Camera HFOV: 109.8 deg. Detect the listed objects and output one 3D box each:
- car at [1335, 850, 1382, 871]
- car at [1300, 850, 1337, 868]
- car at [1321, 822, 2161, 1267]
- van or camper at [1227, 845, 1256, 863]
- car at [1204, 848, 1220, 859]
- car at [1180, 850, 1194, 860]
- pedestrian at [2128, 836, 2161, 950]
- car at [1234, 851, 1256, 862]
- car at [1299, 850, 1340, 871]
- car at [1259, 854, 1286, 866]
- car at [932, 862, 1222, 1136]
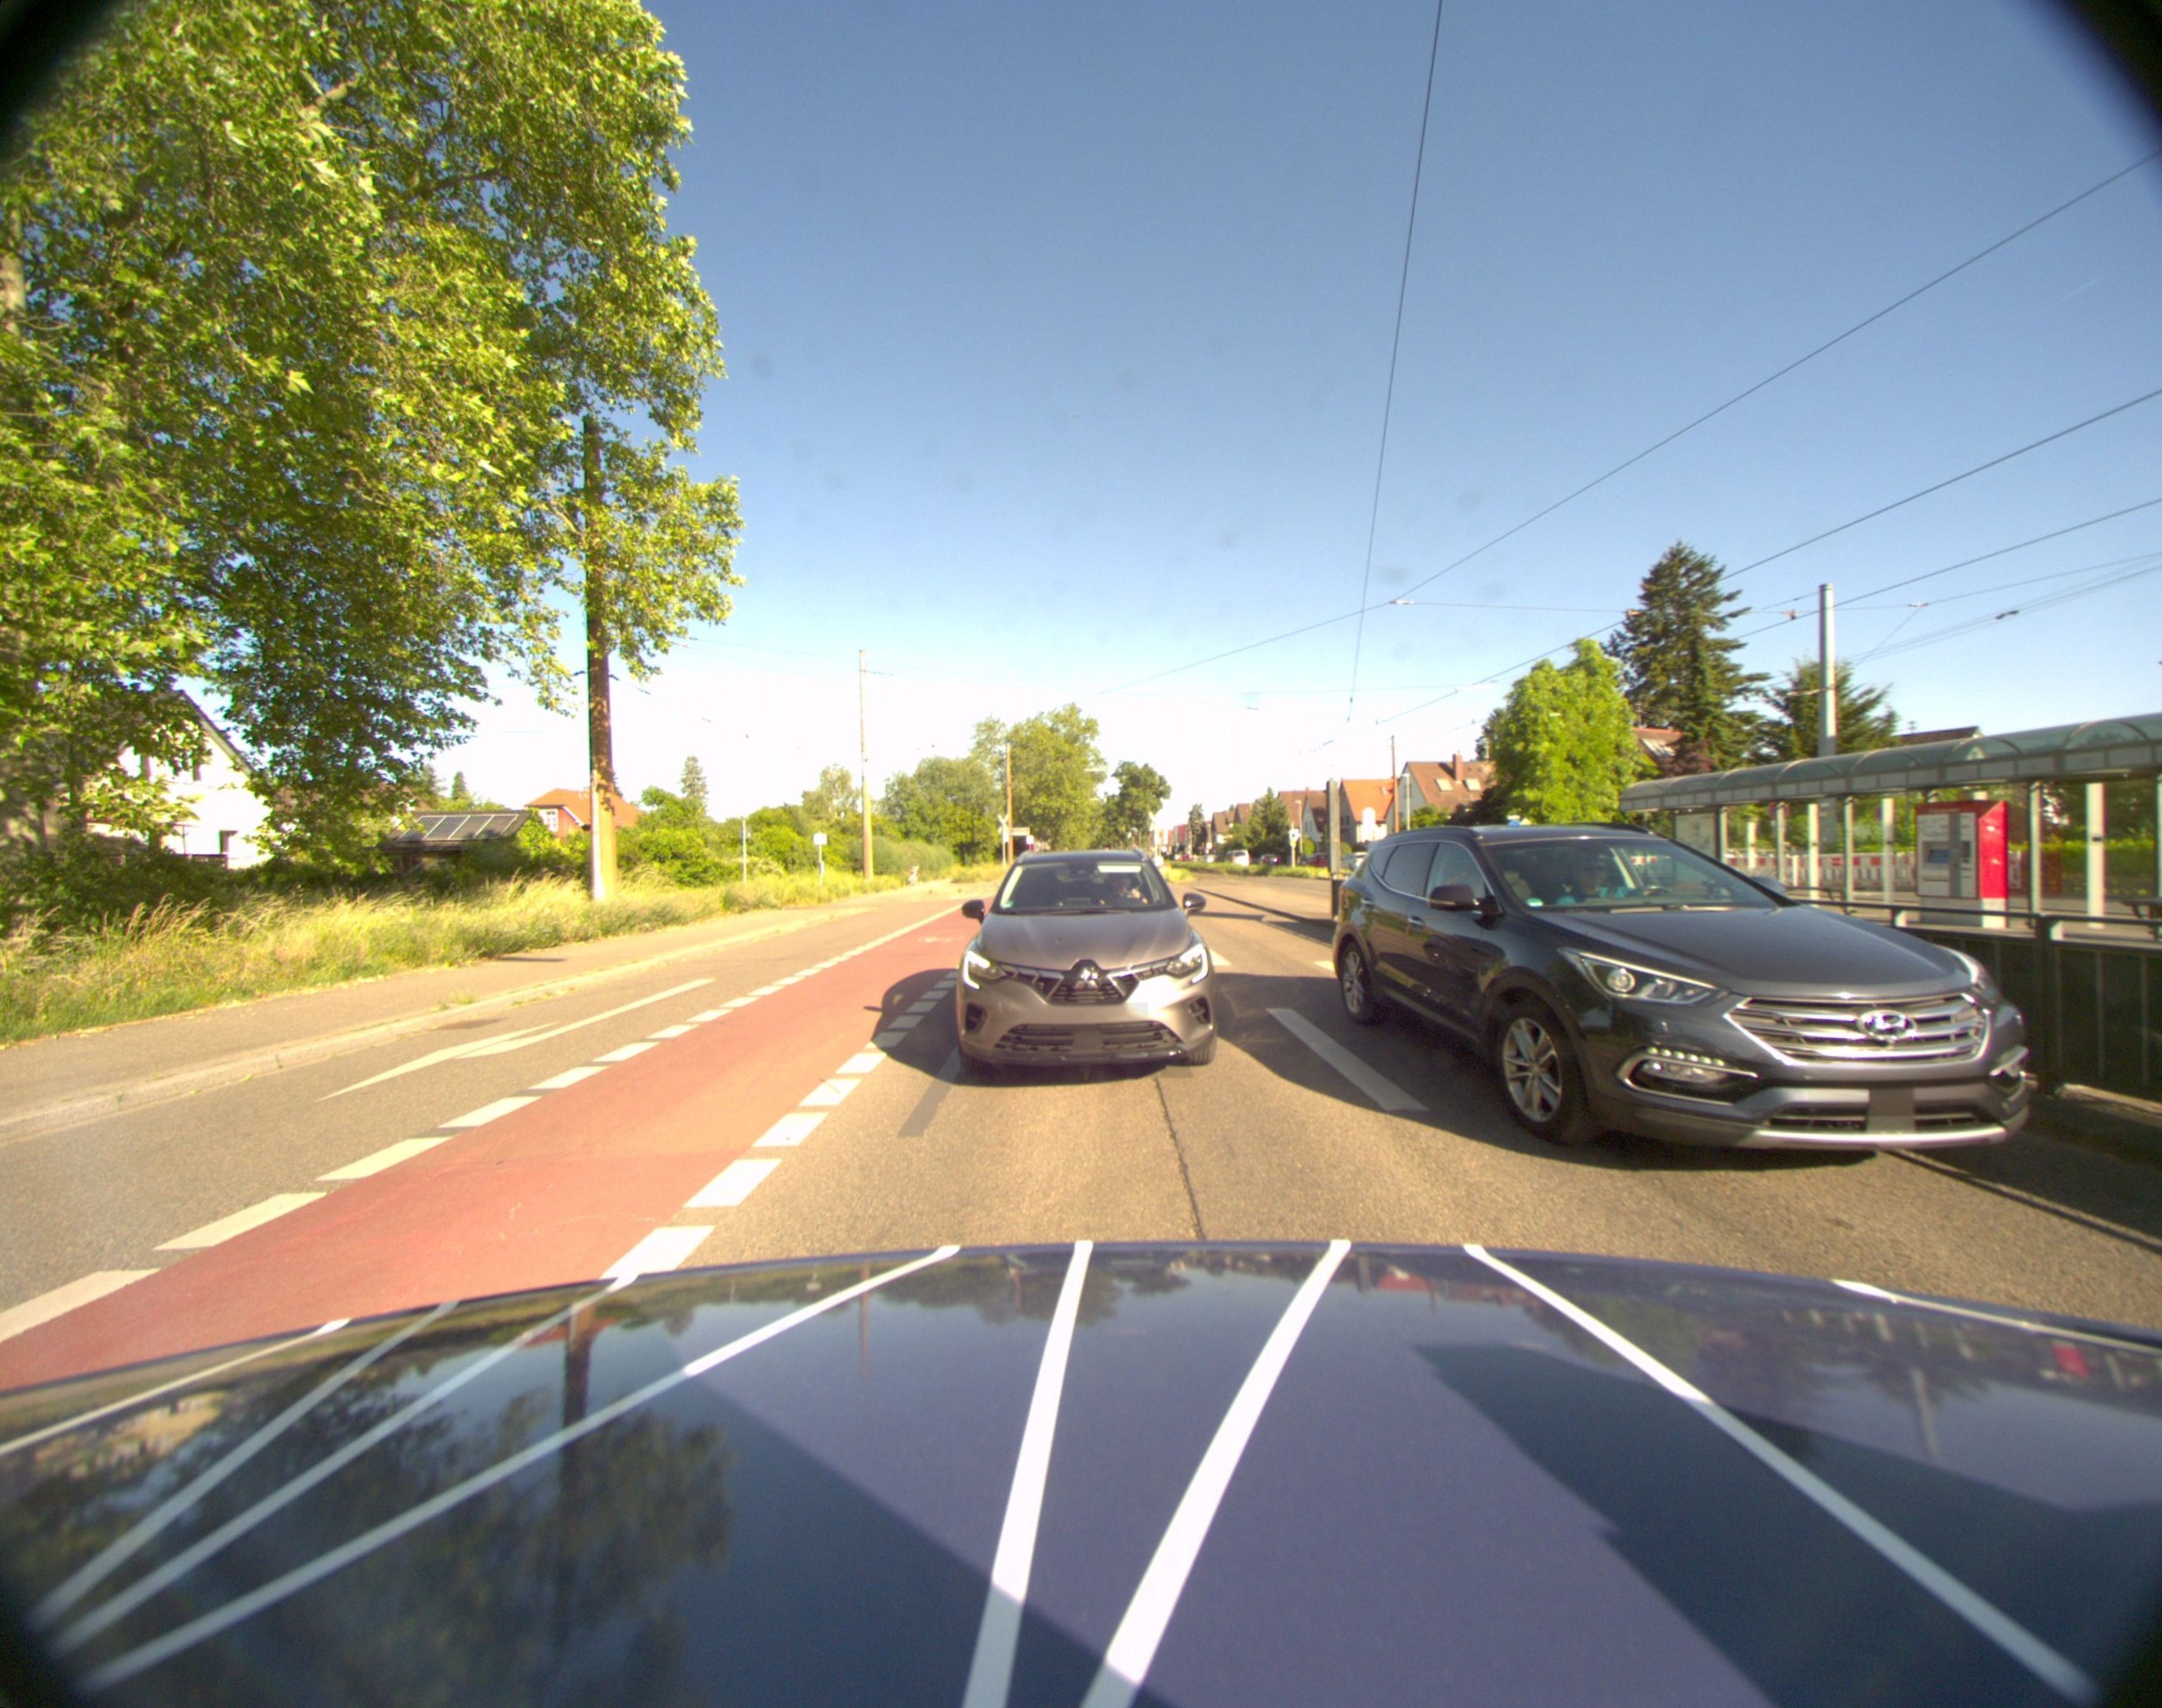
[{"bbox_3d":[21.724,0.450,59.587,1.888,1.464,4.613,-3,1,-1],"label":"car"},{"bbox_3d":[21.620,0.402,69.377,1.912,1.457,4.440,-3,1,0],"label":"car"},{"bbox_3d":[3.133,0.711,4.958,1.780,1.620,4.288,-1,0,0],"label":"car"},{"bbox_3d":[17.139,0.031,81.396,1.998,1.817,5.987,-1,0,1],"label":"van or camper"},{"bbox_3d":[22.070,-0.104,127.955,1.998,1.852,4.584,-2,0,1],"label":"car"},{"bbox_3d":[17.500,0.126,125.283,1.740,1.511,4.344,-1,0,0],"label":"car"},{"bbox_3d":[14.230,0.495,9.420,1.063,1.444,1.007,0,1,0],"label":"pedestrian"},{"bbox_3d":[22.060,0.333,102.353,1.888,1.464,4.838,-3,0,1],"label":"car"},{"bbox_3d":[16.788,0.456,53.653,1.608,1.395,4.015,0,1,0],"label":"car"},{"bbox_3d":[22.129,0.664,87.980,1.998,1.363,4.310,-2,0,1],"label":"car"},{"bbox_3d":[-0.038,0.873,6.273,1.673,1.529,3.586,-2,0,-1],"label":"car"}]
